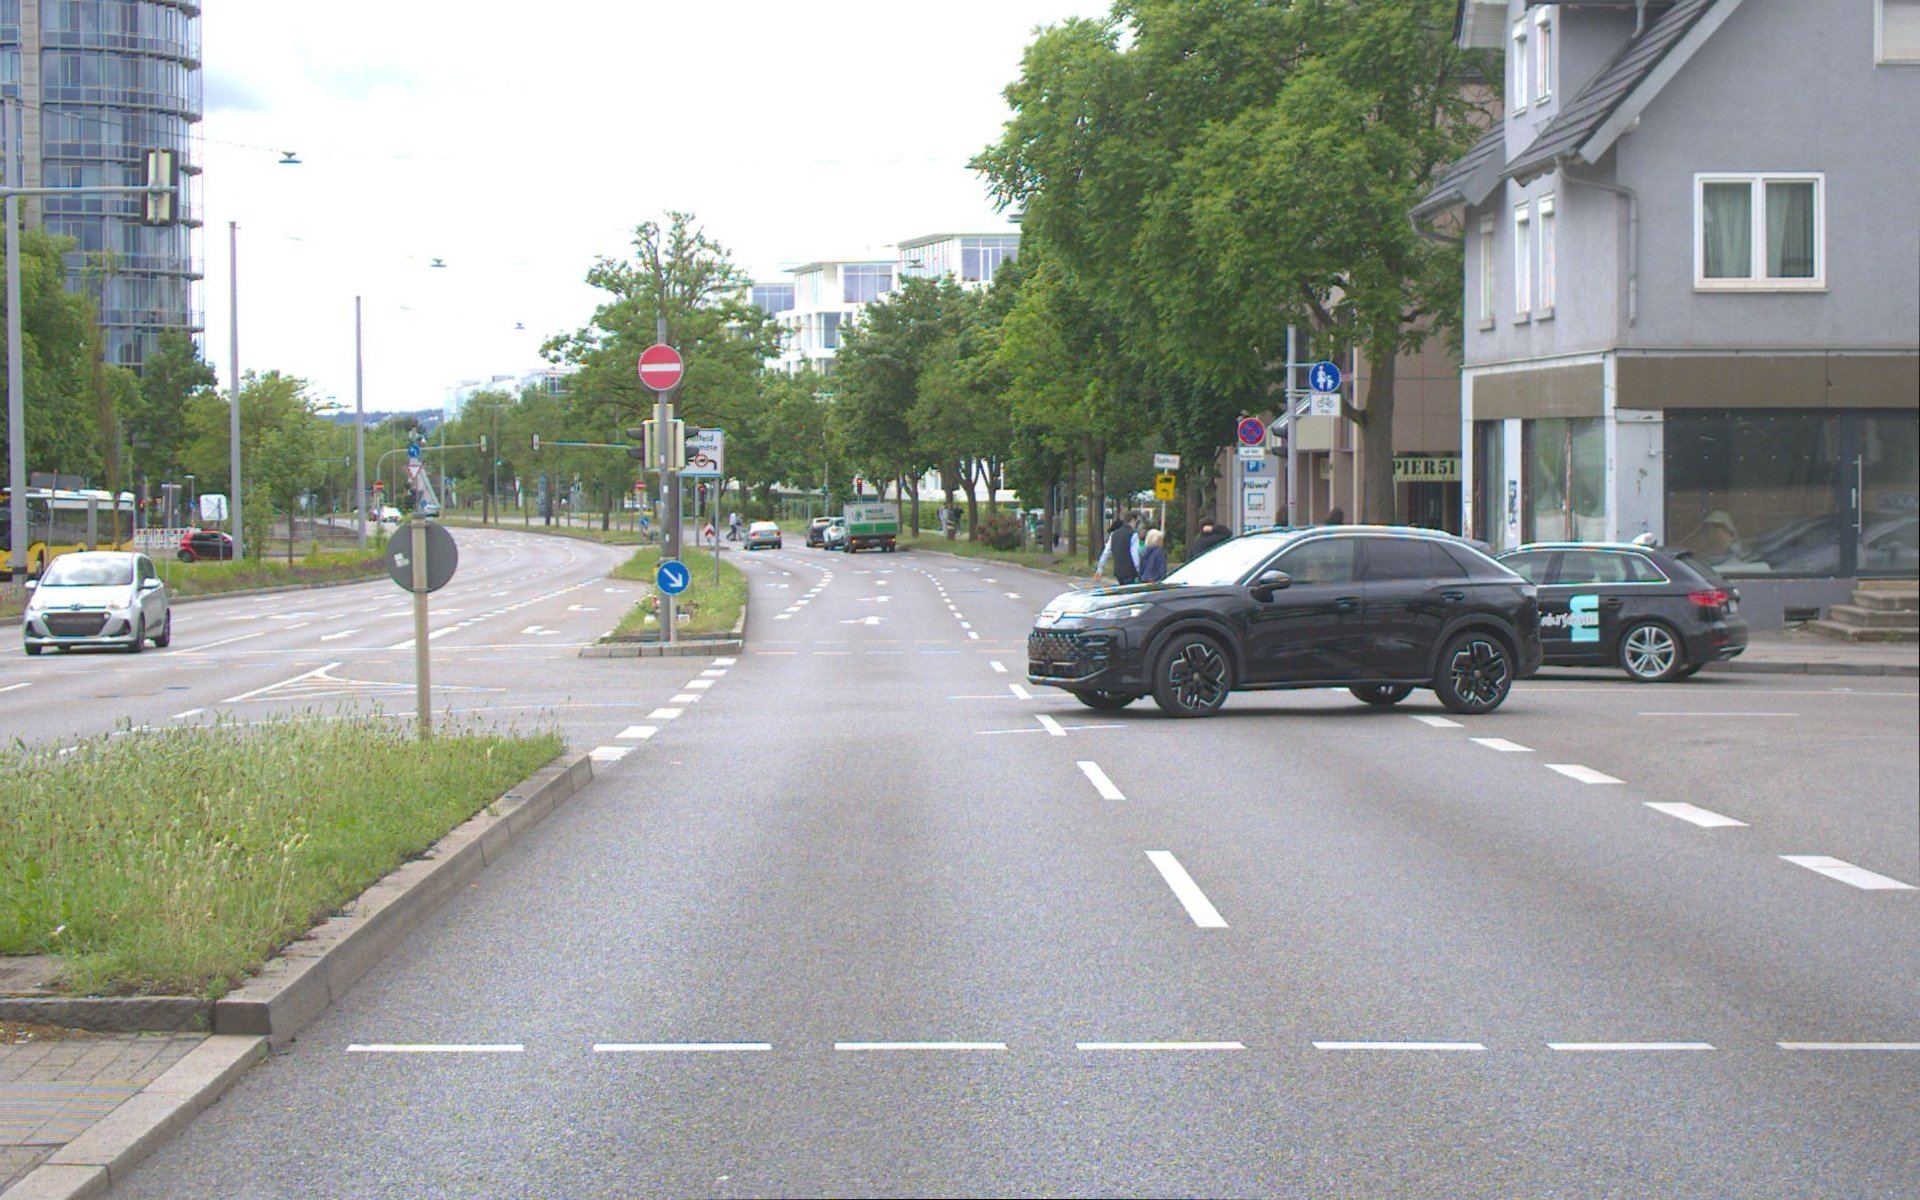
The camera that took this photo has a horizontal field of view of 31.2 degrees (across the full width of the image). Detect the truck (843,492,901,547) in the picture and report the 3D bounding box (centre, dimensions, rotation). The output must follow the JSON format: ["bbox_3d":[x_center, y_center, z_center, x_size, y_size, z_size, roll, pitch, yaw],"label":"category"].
[{"bbox_3d":[-3.954,-3.610,154.016,2.251,2.408,4.934,0,1,-5],"label":"truck"}]

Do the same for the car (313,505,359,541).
[{"bbox_3d":[-36.345,-4.462,200.261,1.965,2.007,4.000,1,1,-1],"label":"car"}]

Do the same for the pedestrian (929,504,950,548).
[{"bbox_3d":[-1.115,-3.920,182.747,0.930,2.300,1.011,1,0,-10],"label":"pedestrian"}]

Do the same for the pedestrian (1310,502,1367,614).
[{"bbox_3d":[5.632,-0.627,51.181,0.705,1.656,0.870,-1,1,-3],"label":"pedestrian"}]

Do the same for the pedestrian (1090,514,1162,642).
[{"bbox_3d":[2.338,-0.314,48.380,0.867,1.773,0.708,-1,1,-9],"label":"pedestrian"}]

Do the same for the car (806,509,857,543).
[{"bbox_3d":[-6.515,-3.740,173.861,2.250,1.641,4.934,-1,1,-5],"label":"car"}]

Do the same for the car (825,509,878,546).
[{"bbox_3d":[-5.229,-3.467,164.593,2.251,1.751,4.934,-1,1,-5],"label":"car"}]

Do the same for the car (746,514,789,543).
[{"bbox_3d":[-9.701,-3.594,173.153,1.967,1.415,4.023,-1,1,-5],"label":"car"}]

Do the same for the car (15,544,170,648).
[{"bbox_3d":[-12.806,-0.089,50.925,1.684,1.457,3.556,-1,1,-5],"label":"car"}]

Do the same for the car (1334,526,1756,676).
[{"bbox_3d":[6.087,0.005,35.655,4.089,1.489,1.894,0,1,18],"label":"car"}]

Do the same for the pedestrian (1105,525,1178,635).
[{"bbox_3d":[2.510,-0.283,47.616,0.867,1.502,0.708,-1,1,-9],"label":"pedestrian"}]

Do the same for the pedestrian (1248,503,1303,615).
[{"bbox_3d":[4.706,-0.621,51.351,0.705,1.656,0.870,0,1,-2],"label":"pedestrian"}]

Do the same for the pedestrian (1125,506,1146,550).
[{"bbox_3d":[6.325,-2.586,123.984,0.650,1.564,0.671,-1,1,-8],"label":"pedestrian"}]

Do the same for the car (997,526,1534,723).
[{"bbox_3d":[2.541,0.153,28.579,4.058,1.516,1.841,-1,2,-24],"label":"car"}]

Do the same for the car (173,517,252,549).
[{"bbox_3d":[-36.152,-3.255,166.330,3.549,1.487,1.708,-1,1,-7],"label":"car"}]

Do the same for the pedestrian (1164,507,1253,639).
[{"bbox_3d":[3.353,-0.364,46.394,1.048,1.754,0.708,-1,1,-9],"label":"pedestrian"}]

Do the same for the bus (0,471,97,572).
[{"bbox_3d":[-31.402,-2.567,114.465,3.144,3.214,10.286,-1,1,-3],"label":"bus"}]

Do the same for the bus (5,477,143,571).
[{"bbox_3d":[-31.741,-2.708,123.468,3.144,3.214,7.766,-1,1,-2],"label":"bus"}]
